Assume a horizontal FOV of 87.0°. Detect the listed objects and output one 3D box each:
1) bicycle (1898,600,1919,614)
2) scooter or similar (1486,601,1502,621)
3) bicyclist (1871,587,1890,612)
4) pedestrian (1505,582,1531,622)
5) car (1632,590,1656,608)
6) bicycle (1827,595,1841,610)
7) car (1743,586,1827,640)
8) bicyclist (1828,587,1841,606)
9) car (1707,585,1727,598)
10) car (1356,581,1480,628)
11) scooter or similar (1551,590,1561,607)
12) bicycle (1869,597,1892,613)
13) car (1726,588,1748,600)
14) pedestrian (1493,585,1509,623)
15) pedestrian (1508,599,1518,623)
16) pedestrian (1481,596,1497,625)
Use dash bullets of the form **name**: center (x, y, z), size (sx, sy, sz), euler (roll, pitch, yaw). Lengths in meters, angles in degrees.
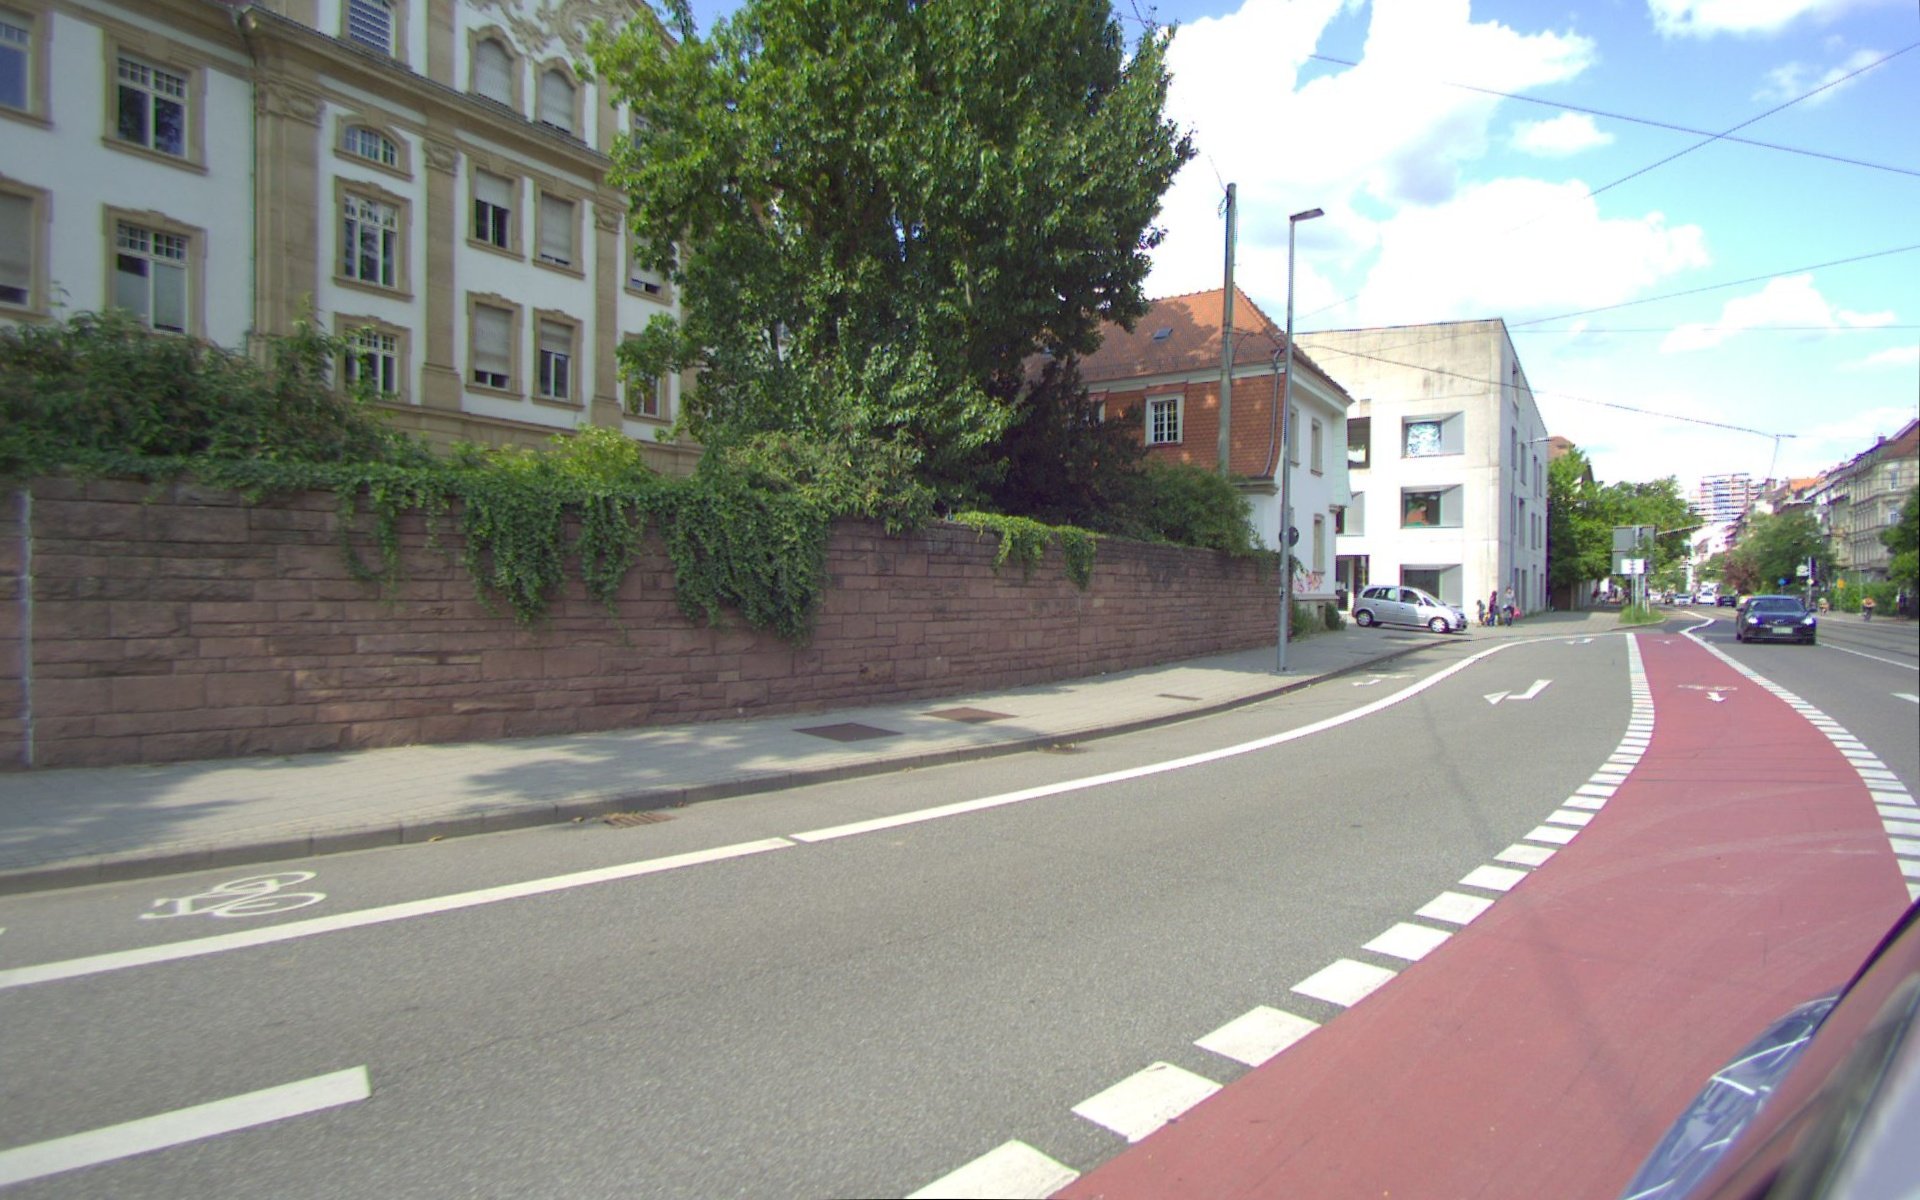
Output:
- **bicycle**: center (65.366, 0.482, 69.318), size (1.138, 0.920, 2.953), euler (-3, -1, 33)
- **scooter or similar**: center (23.579, 0.490, 44.673), size (0.541, 0.810, 0.267), euler (4, 0, 11)
- **bicyclist**: center (58.919, -0.049, 64.799), size (0.687, 1.538, 0.858), euler (2, 1, 31)
- **pedestrian**: center (24.739, 0.096, 44.836), size (0.732, 1.746, 0.687), euler (3, 0, -33)
- **car**: center (61.636, -0.103, 91.279), size (1.700, 1.517, 4.732), euler (1, 1, 33)
- **bicycle**: center (71.421, 0.211, 82.714), size (0.601, 1.110, 1.996), euler (7, 4, 36)
- **car**: center (25.861, 0.369, 31.833), size (1.683, 1.597, 4.105), euler (1, 0, 34)
- **bicyclist**: center (71.490, -0.264, 82.726), size (0.598, 1.510, 0.870), euler (7, 4, 36)
- **car**: center (110.610, -1.220, 147.924), size (1.889, 1.931, 5.322), euler (1, 1, 32)
- **car**: center (16.853, 0.164, 37.308), size (3.872, 1.625, 1.642), euler (1, -1, 38)
- **scooter or similar**: center (40.242, -0.104, 68.322), size (1.129, 1.196, 0.323), euler (0, 0, -44)
- **bicycle**: center (58.884, 0.316, 64.753), size (0.695, 1.030, 1.800), euler (2, 1, 30)
- **car**: center (94.146, -0.757, 122.656), size (1.682, 1.419, 3.884), euler (4, 2, 33)
- **pedestrian**: center (23.339, 0.166, 43.658), size (0.518, 1.600, 0.541), euler (2, 0, 36)
- **pedestrian**: center (23.801, 0.489, 43.566), size (0.340, 1.023, 0.393), euler (3, 0, 25)
- **pedestrian**: center (22.545, 0.447, 43.101), size (0.414, 1.216, 0.406), euler (3, 0, 1)
